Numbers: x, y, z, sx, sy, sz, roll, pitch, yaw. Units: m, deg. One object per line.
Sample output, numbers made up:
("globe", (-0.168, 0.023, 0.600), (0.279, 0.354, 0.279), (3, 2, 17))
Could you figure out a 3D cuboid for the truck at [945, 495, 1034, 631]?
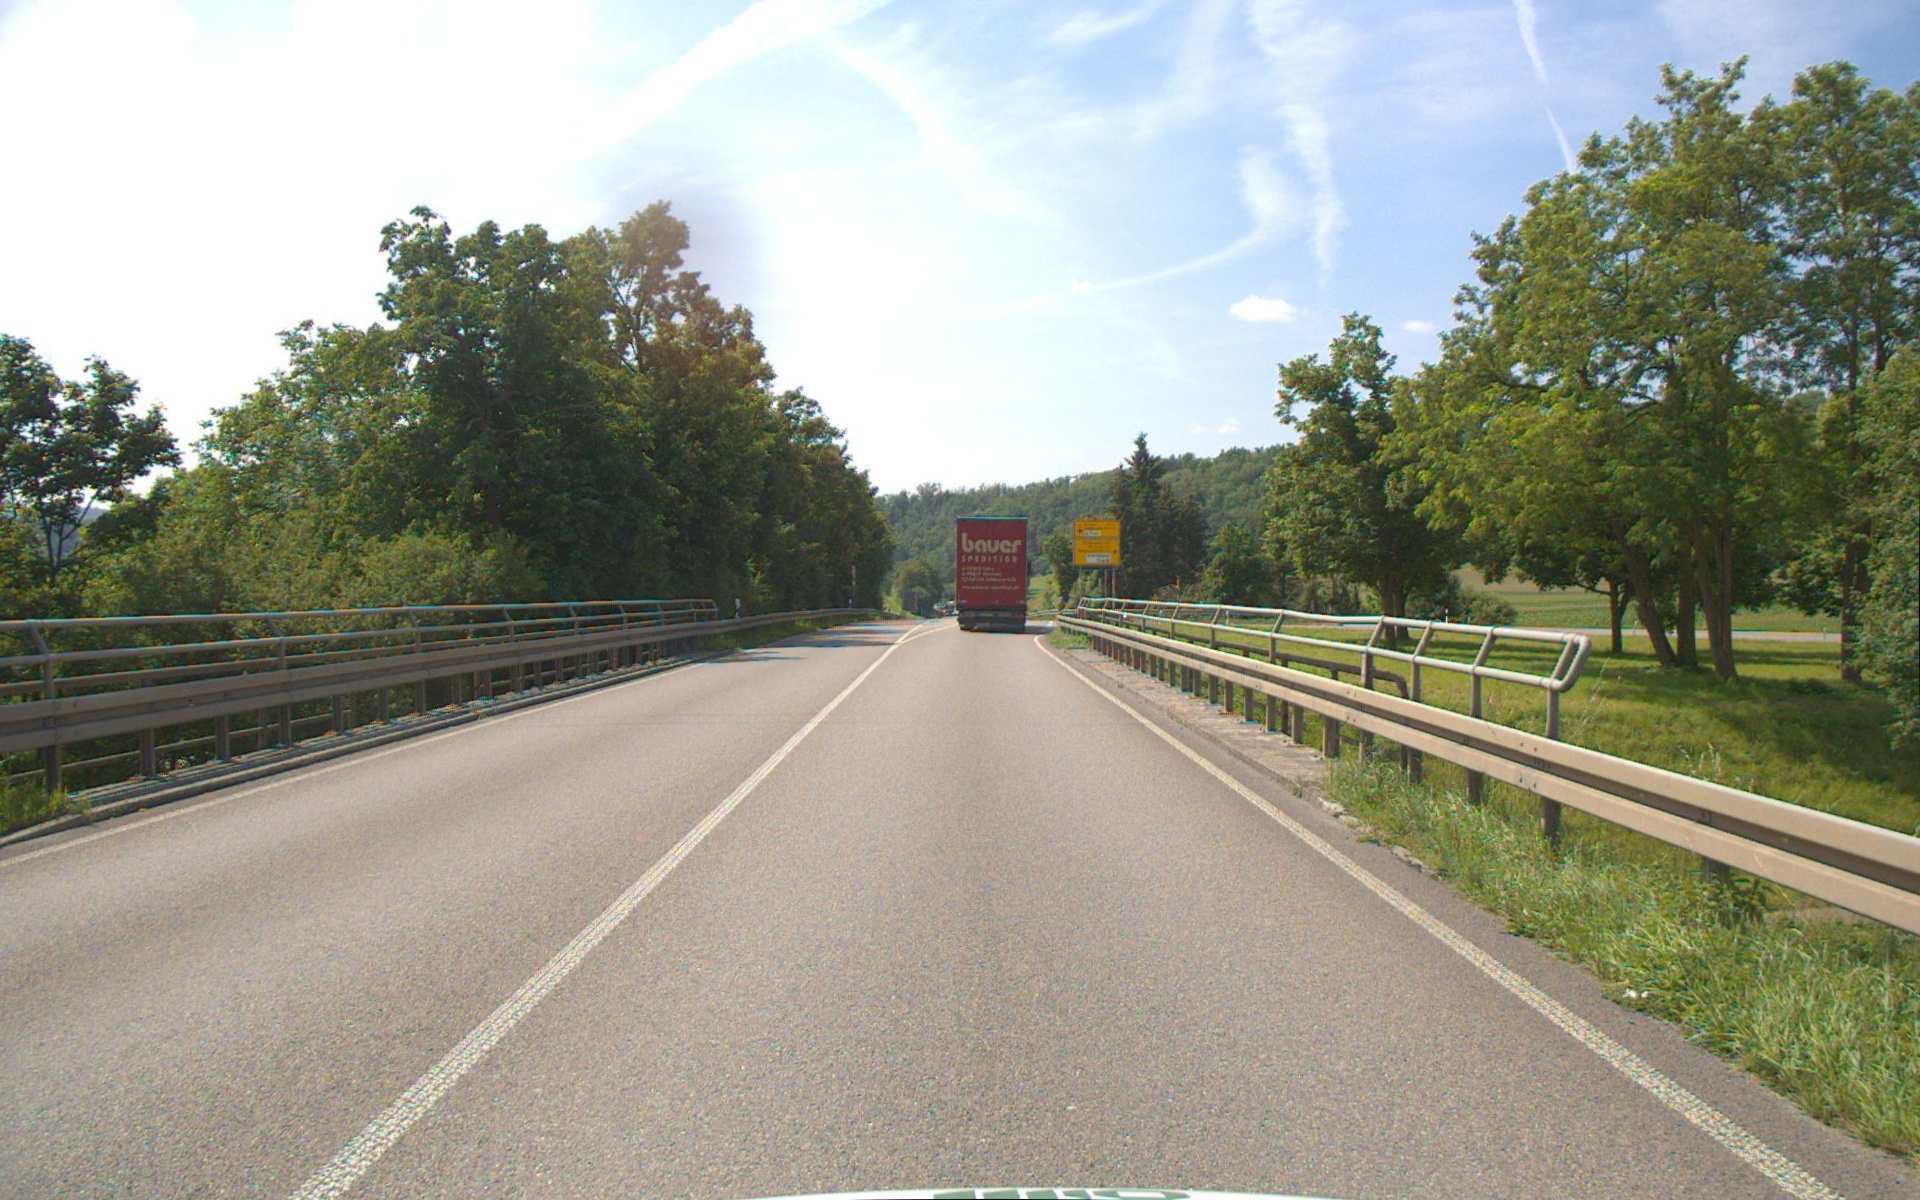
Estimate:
("truck", (1.072, -1.357, 64.427), (3.107, 4.706, 13.544), (0, 0, 0))
